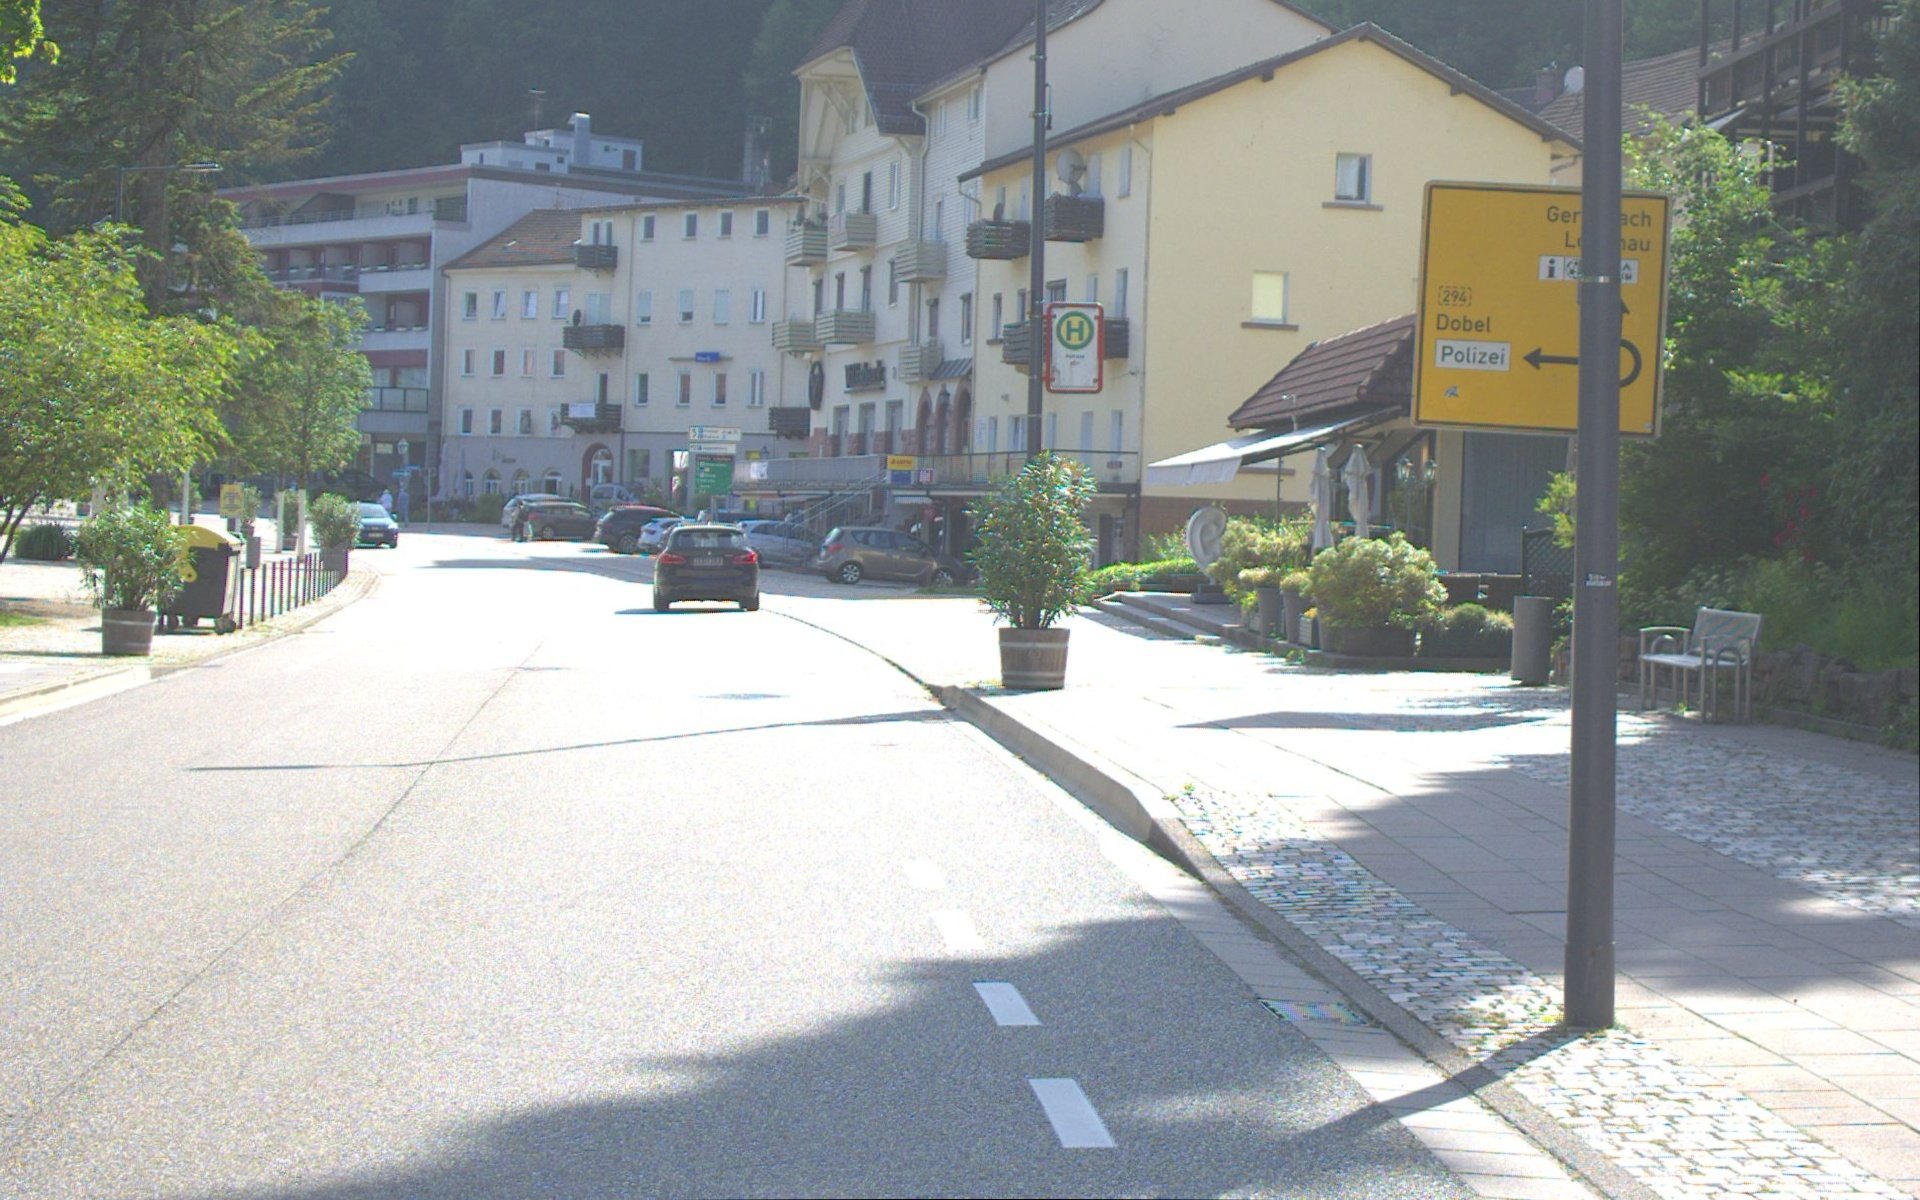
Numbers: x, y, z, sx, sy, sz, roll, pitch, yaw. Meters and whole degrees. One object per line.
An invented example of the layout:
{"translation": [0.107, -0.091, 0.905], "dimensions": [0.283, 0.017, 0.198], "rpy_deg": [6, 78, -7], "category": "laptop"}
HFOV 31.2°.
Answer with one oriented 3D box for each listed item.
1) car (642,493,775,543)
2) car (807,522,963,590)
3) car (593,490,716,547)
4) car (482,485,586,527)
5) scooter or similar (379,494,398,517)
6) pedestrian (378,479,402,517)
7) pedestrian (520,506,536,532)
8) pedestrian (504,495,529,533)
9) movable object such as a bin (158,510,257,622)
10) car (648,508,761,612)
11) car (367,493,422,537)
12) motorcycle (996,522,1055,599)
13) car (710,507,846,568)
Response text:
{"translation": [-8.732, -2.826, 119.362], "dimensions": [4.355, 1.456, 1.773], "rpy_deg": [3, 0, -11], "category": "car"}
{"translation": [-2.054, -1.216, 94.294], "dimensions": [3.858, 1.549, 1.761], "rpy_deg": [4, 1, -16], "category": "car"}
{"translation": [-11.038, -2.953, 123.988], "dimensions": [4.083, 1.660, 1.773], "rpy_deg": [5, 1, -13], "category": "car"}
{"translation": [-17.494, -3.880, 141.253], "dimensions": [3.861, 1.607, 1.773], "rpy_deg": [-2, 5, -33], "category": "car"}
{"translation": [-24.578, -4.082, 147.891], "dimensions": [0.596, 0.947, 0.474], "rpy_deg": [2, 2, -36], "category": "scooter or similar"}
{"translation": [-24.494, -4.369, 147.787], "dimensions": [0.757, 1.588, 0.628], "rpy_deg": [2, 2, -36], "category": "pedestrian"}
{"translation": [-16.542, -3.108, 131.663], "dimensions": [0.417, 0.998, 0.531], "rpy_deg": [-1, 3, -38], "category": "pedestrian"}
{"translation": [-16.930, -3.301, 131.255], "dimensions": [0.735, 1.437, 0.633], "rpy_deg": [-1, 3, -38], "category": "pedestrian"}
{"translation": [-10.162, -0.474, 46.476], "dimensions": [1.078, 1.422, 1.377], "rpy_deg": [4, 1, -6], "category": "movable object such as a bin"}
{"translation": [-4.552, -0.731, 60.806], "dimensions": [1.727, 1.569, 3.754], "rpy_deg": [3, 3, -7], "category": "car"}
{"translation": [-19.259, -2.913, 117.197], "dimensions": [1.741, 1.457, 4.188], "rpy_deg": [0, 2, -8], "category": "car"}
{"translation": [1.128, -0.702, 59.946], "dimensions": [0.697, 1.292, 2.213], "rpy_deg": [-1, 2, -7], "category": "motorcycle"}
{"translation": [-5.727, -1.957, 107.810], "dimensions": [3.908, 1.583, 1.775], "rpy_deg": [4, 2, -13], "category": "car"}
